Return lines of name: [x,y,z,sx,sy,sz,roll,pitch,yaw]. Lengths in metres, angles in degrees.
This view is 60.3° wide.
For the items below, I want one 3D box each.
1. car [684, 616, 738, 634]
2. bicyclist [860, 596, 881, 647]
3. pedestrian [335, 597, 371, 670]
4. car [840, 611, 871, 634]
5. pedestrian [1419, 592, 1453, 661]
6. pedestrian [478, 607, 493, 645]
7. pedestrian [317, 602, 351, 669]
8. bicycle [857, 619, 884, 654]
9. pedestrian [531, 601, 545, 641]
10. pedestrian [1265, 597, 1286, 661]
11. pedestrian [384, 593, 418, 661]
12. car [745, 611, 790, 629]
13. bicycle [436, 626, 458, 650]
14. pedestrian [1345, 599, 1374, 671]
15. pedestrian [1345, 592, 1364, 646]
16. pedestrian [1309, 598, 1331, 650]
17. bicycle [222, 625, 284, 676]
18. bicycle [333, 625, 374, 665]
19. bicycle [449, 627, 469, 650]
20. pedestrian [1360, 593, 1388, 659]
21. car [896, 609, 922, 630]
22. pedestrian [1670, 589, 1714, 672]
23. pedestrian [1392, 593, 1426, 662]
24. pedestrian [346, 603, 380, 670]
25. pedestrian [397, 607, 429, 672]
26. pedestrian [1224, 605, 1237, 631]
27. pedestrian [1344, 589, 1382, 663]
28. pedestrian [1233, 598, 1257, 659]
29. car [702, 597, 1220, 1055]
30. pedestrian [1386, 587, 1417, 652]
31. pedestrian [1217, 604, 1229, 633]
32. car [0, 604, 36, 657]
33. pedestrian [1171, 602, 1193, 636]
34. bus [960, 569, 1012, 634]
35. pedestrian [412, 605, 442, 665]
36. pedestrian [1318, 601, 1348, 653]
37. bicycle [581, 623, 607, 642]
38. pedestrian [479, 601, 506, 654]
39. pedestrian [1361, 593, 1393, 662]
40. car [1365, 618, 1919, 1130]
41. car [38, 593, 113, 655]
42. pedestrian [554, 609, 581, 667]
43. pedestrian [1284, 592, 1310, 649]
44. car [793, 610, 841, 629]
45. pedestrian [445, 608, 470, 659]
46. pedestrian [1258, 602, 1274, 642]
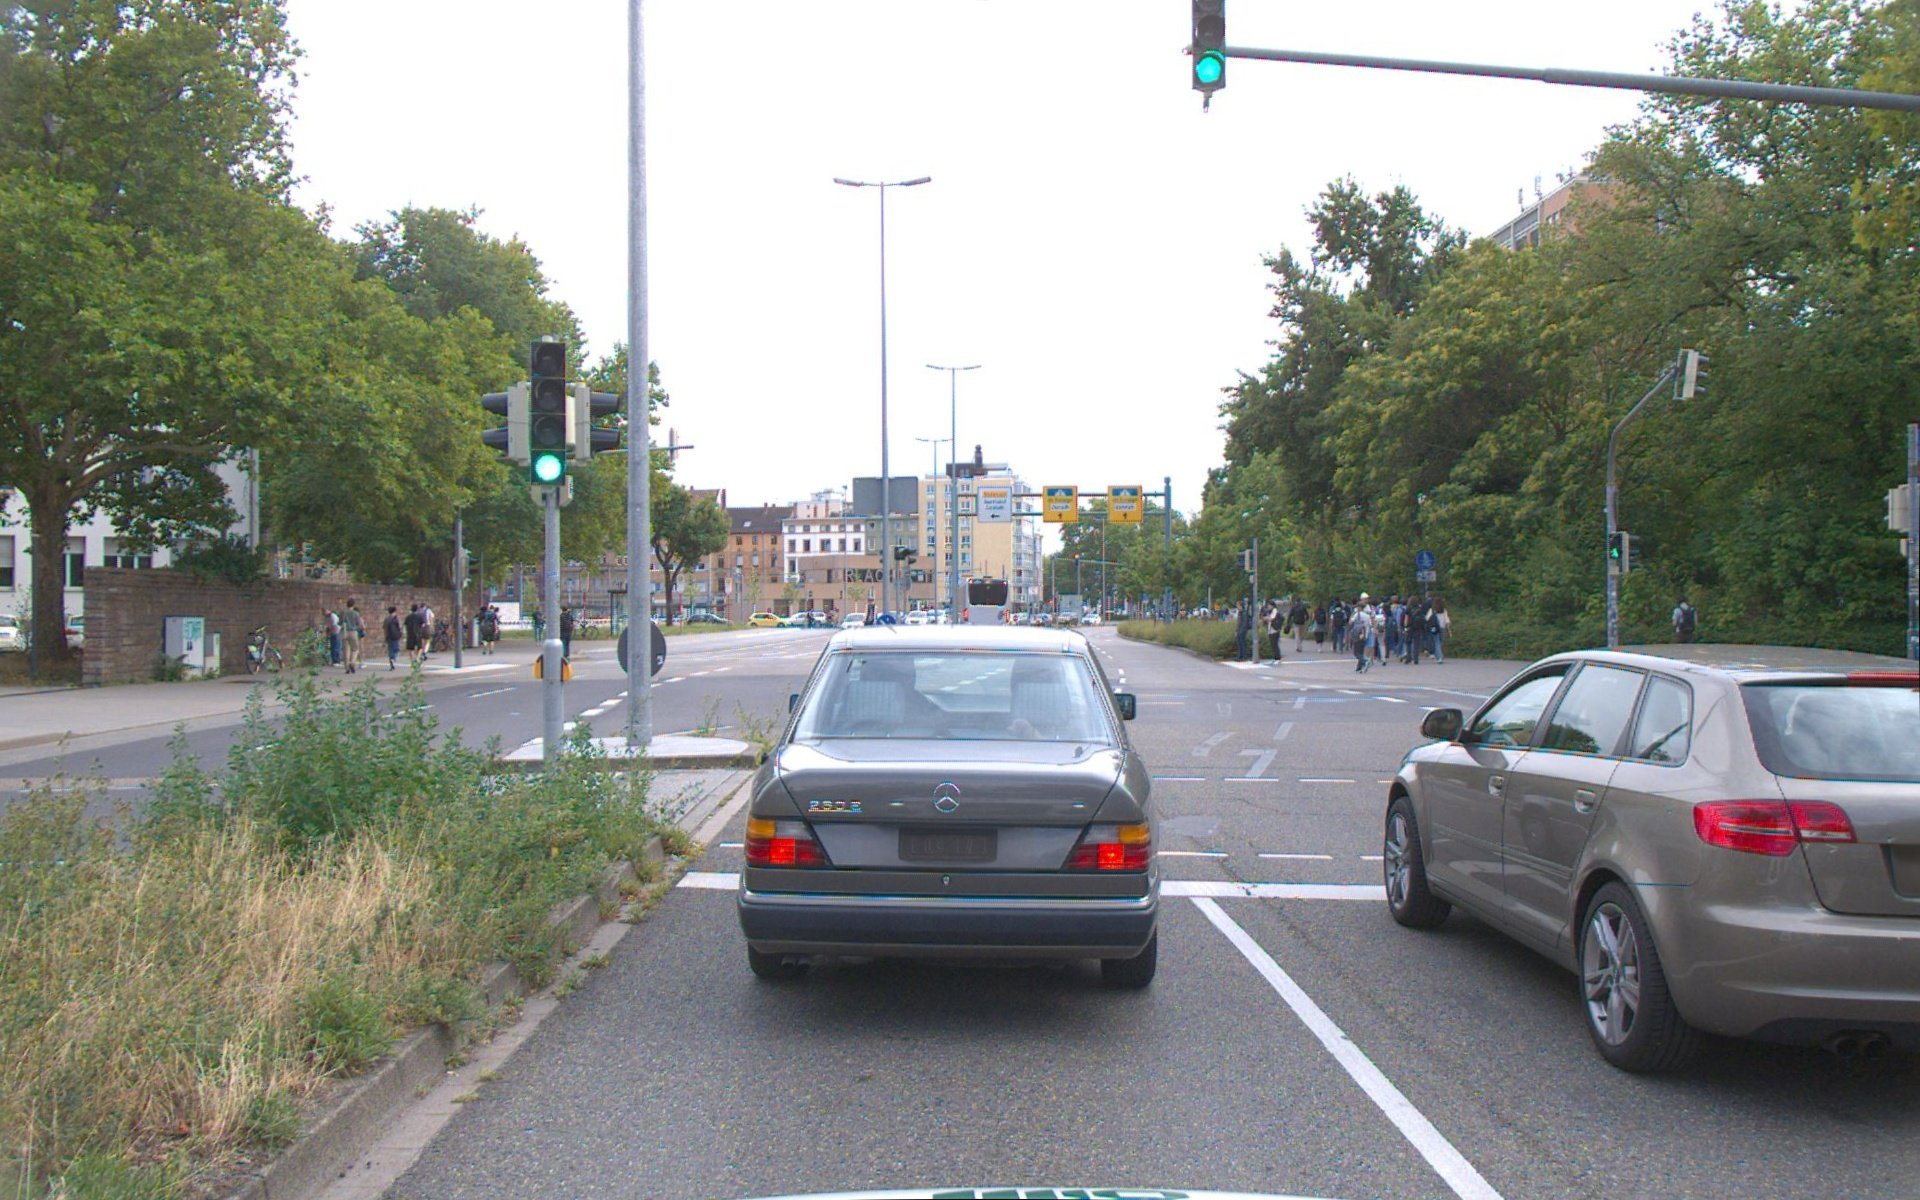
car: [-22.055,2.230,146.783,4.575,1.501,1.659,1,-1,-2]
bicyclist: [-2.837,0.681,52.610,0.560,1.601,0.700,0,-1,7]
pedestrian: [-15.271,0.845,41.621,0.737,1.814,0.776,1,-2,-30]
car: [-6.959,1.502,110.563,1.725,1.515,4.545,0,0,0]
pedestrian: [12.386,0.690,43.062,0.643,1.776,0.780,-1,-1,1]
pedestrian: [-20.042,1.096,69.838,0.577,1.620,0.731,0,-2,-20]
pedestrian: [-17.224,0.989,45.487,0.737,1.814,0.775,1,-3,-32]
bicycle: [-2.834,1.135,52.518,0.561,1.074,1.927,0,0,6]
pedestrian: [-18.040,0.898,70.732,0.550,1.697,0.624,0,-2,-14]
pedestrian: [8.780,0.817,46.035,0.444,1.765,0.637,0,-1,0]
pedestrian: [-15.173,0.743,44.887,0.750,1.814,0.777,1,-2,-27]
car: [-17.099,1.739,146.801,3.779,1.544,1.659,1,-1,-2]
bicycle: [-19.127,1.405,61.688,0.432,0.811,1.618,2,0,-7]
pedestrian: [9.684,0.843,40.129,0.534,1.716,0.637,0,-1,0]
pedestrian: [13.226,0.645,55.476,0.474,1.794,0.664,-1,-1,3]
pedestrian: [11.673,0.770,53.647,0.544,1.684,0.754,-1,-1,3]
bicycle: [-16.904,1.185,39.591,0.566,1.145,2.164,3,0,-2]
bicycle: [-17.572,1.288,47.973,0.538,1.077,1.979,3,0,-4]
bicycle: [-19.374,1.482,63.938,0.432,0.811,1.618,2,0,-7]
pedestrian: [11.322,0.711,45.235,0.569,1.776,0.790,-1,-1,1]
car: [-3.791,1.443,123.634,1.764,1.515,4.288,0,0,0]
pedestrian: [16.366,0.675,36.981,0.631,1.827,0.740,0,-1,0]
pedestrian: [11.707,0.705,43.123,0.643,1.776,0.780,-1,-1,1]
pedestrian: [-16.230,1.002,44.972,0.750,1.814,0.776,1,-2,-29]
pedestrian: [-15.558,1.121,47.024,0.749,1.814,0.777,1,-2,-26]
pedestrian: [15.543,1.021,95.115,0.644,1.496,0.561,0,-1,-1]
pedestrian: [10.343,0.667,42.448,0.633,1.885,0.827,1,-1,-12]
pedestrian: [8.361,0.830,48.524,0.589,1.765,0.654,0,-1,0]
car: [-0.026,0.767,7.625,1.725,1.515,4.170,0,0,-1]
pedestrian: [12.191,0.534,45.714,0.643,1.776,0.780,-1,-1,1]
pedestrian: [15.705,1.090,98.753,0.633,1.743,0.562,-1,-1,18]
car: [-32.938,1.029,56.477,1.891,1.782,3.946,0,-1,-37]
pedestrian: [12.056,1.038,89.740,0.916,1.862,0.885,-1,-1,30]
bus: [1.444,0.095,93.096,2.773,3.450,8.183,0,0,1]
pedestrian: [-16.334,1.067,50.718,0.749,1.814,0.907,1,-2,-26]
pedestrian: [11.722,0.843,52.008,0.759,1.630,0.812,-1,-1,3]
bicycle: [-18.766,1.659,84.817,0.460,0.935,2.341,-1,-1,10]
pedestrian: [-16.069,0.960,56.835,0.749,1.814,0.916,1,-2,-26]
pedestrian: [10.896,0.716,43.213,0.611,1.776,0.780,-1,-1,1]
car: [3.019,0.828,6.788,1.689,1.483,3.734,0,0,-2]
car: [-30.652,0.809,57.272,1.767,2.049,3.947,0,-1,-37]
pedestrian: [-12.303,1.186,51.822,0.748,1.814,0.717,1,-2,-21]
pedestrian: [11.133,0.687,54.704,0.678,1.853,0.954,-1,-1,3]
car: [-13.236,1.783,153.082,4.094,1.678,1.637,-1,-1,-21]
pedestrian: [-17.961,1.206,59.147,0.749,1.814,0.777,1,-2,-26]
pedestrian: [13.473,0.966,72.857,0.575,1.712,0.748,-1,-1,3]
